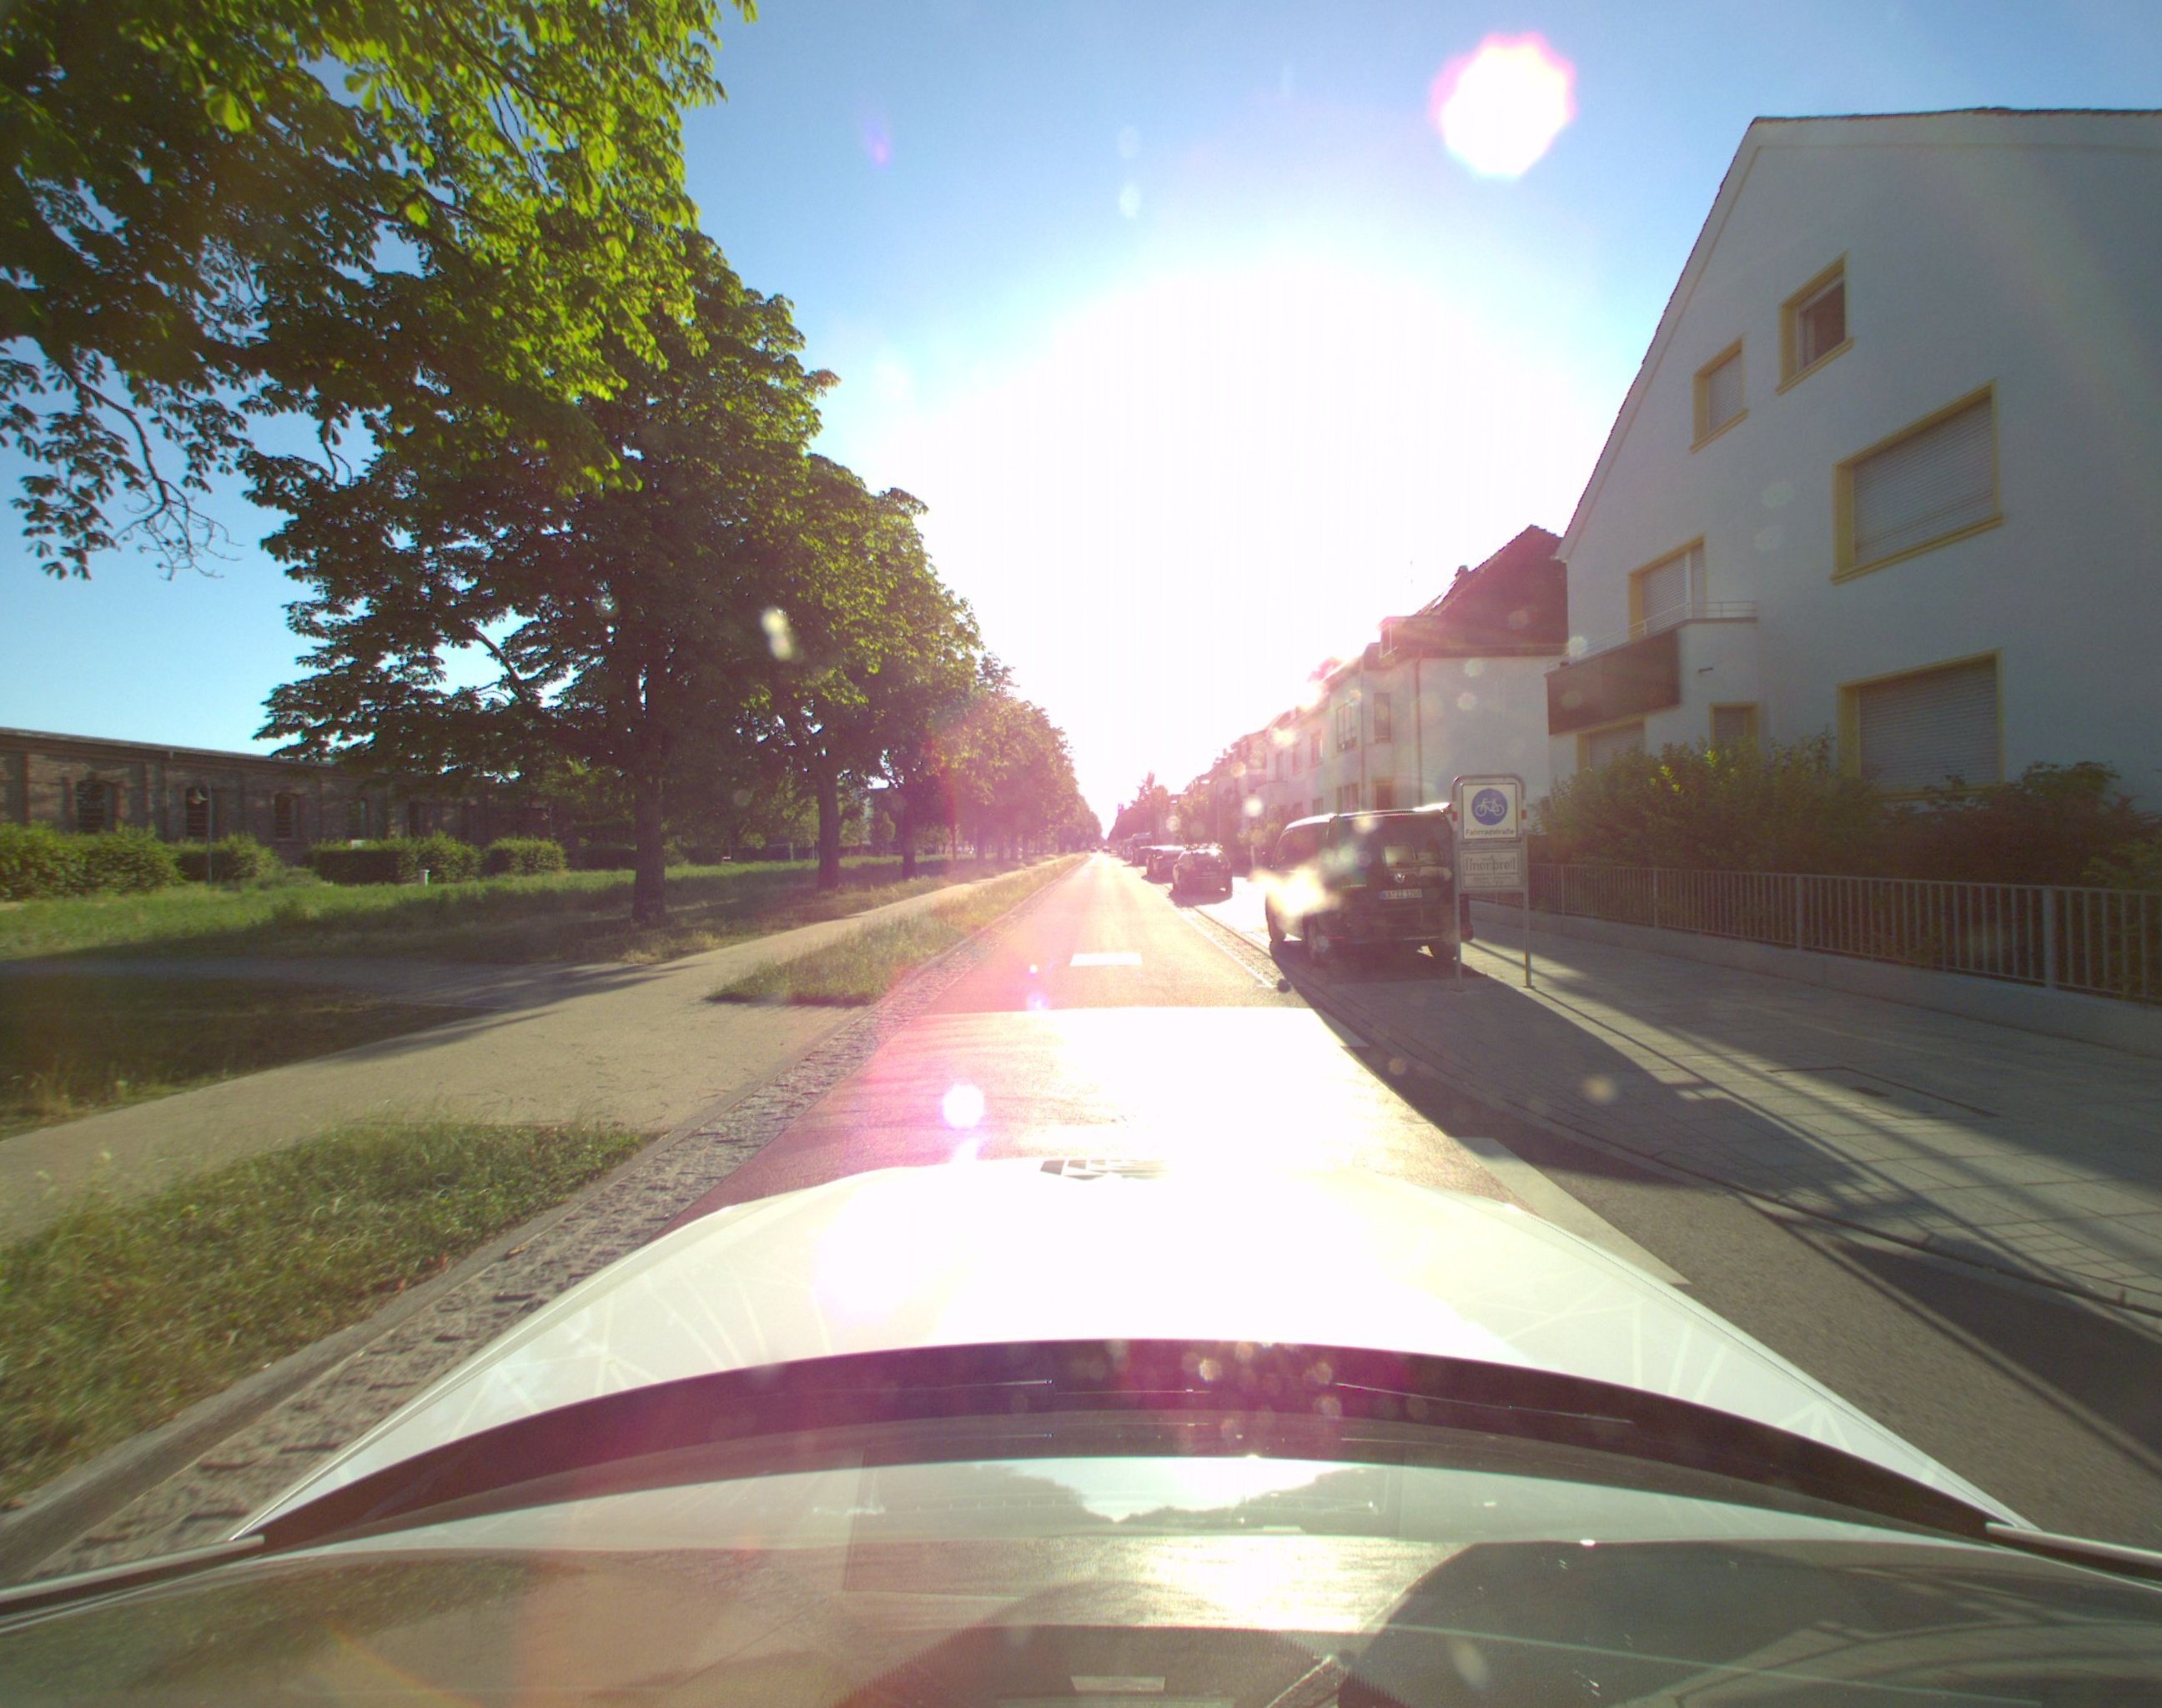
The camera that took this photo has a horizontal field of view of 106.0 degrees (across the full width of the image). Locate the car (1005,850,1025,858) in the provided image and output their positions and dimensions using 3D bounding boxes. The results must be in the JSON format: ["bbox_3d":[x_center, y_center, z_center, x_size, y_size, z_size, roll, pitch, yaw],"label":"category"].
[{"bbox_3d":[-14.398,-0.083,177.044,4.342,1.764,1.995,0,0,-7],"label":"car"}]

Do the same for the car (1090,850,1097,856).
[{"bbox_3d":[3.490,-0.260,229.423,1.856,1.597,3.871,0,0,1],"label":"car"}]

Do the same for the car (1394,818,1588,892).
[{"bbox_3d":[10.753,0.018,21.544,4.206,1.726,1.852,-2,0,-2],"label":"car"}]

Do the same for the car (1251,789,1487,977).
[{"bbox_3d":[3.928,0.302,12.088,1.898,2.131,4.818,-3,1,3],"label":"car"}]

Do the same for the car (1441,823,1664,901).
[{"bbox_3d":[10.914,0.168,19.052,4.206,1.726,1.852,0,0,-2],"label":"car"}]

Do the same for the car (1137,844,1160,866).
[{"bbox_3d":[5.526,0.045,66.923,1.657,1.592,4.088,-4,1,2],"label":"car"}]

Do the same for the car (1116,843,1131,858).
[{"bbox_3d":[6.201,-0.527,119.039,2.118,2.067,5.191,-2,1,2],"label":"car"}]

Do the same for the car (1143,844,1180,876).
[{"bbox_3d":[4.483,0.296,45.850,1.825,1.685,4.418,1,1,2],"label":"car"}]

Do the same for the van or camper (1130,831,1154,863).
[{"bbox_3d":[5.474,-0.637,73.431,1.936,2.777,5.942,0,0,2],"label":"van or camper"}]

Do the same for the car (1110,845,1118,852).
[{"bbox_3d":[7.793,-1.277,191.358,1.643,1.530,3.854,-3,1,3],"label":"car"}]

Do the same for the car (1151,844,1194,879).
[{"bbox_3d":[4.445,0.323,40.082,1.711,1.574,4.212,-3,0,2],"label":"car"}]

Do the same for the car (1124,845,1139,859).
[{"bbox_3d":[6.007,-0.285,97.584,1.643,1.530,3.854,-2,1,3],"label":"car"}]

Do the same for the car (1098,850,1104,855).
[{"bbox_3d":[5.965,-0.389,240.118,1.856,1.597,3.871,0,0,1],"label":"car"}]

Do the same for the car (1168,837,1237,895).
[{"bbox_3d":[4.136,0.334,28.400,1.787,1.771,4.474,-3,1,2],"label":"car"}]

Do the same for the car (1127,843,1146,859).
[{"bbox_3d":[6.306,-0.377,92.175,1.831,1.635,4.131,-2,1,0],"label":"car"}]

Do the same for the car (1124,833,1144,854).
[{"bbox_3d":[6.676,-1.387,103.732,2.120,2.532,5.188,-2,1,0],"label":"car"}]

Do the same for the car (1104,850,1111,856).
[{"bbox_3d":[6.765,-0.312,209.816,1.856,1.596,3.895,-1,1,1],"label":"car"}]
